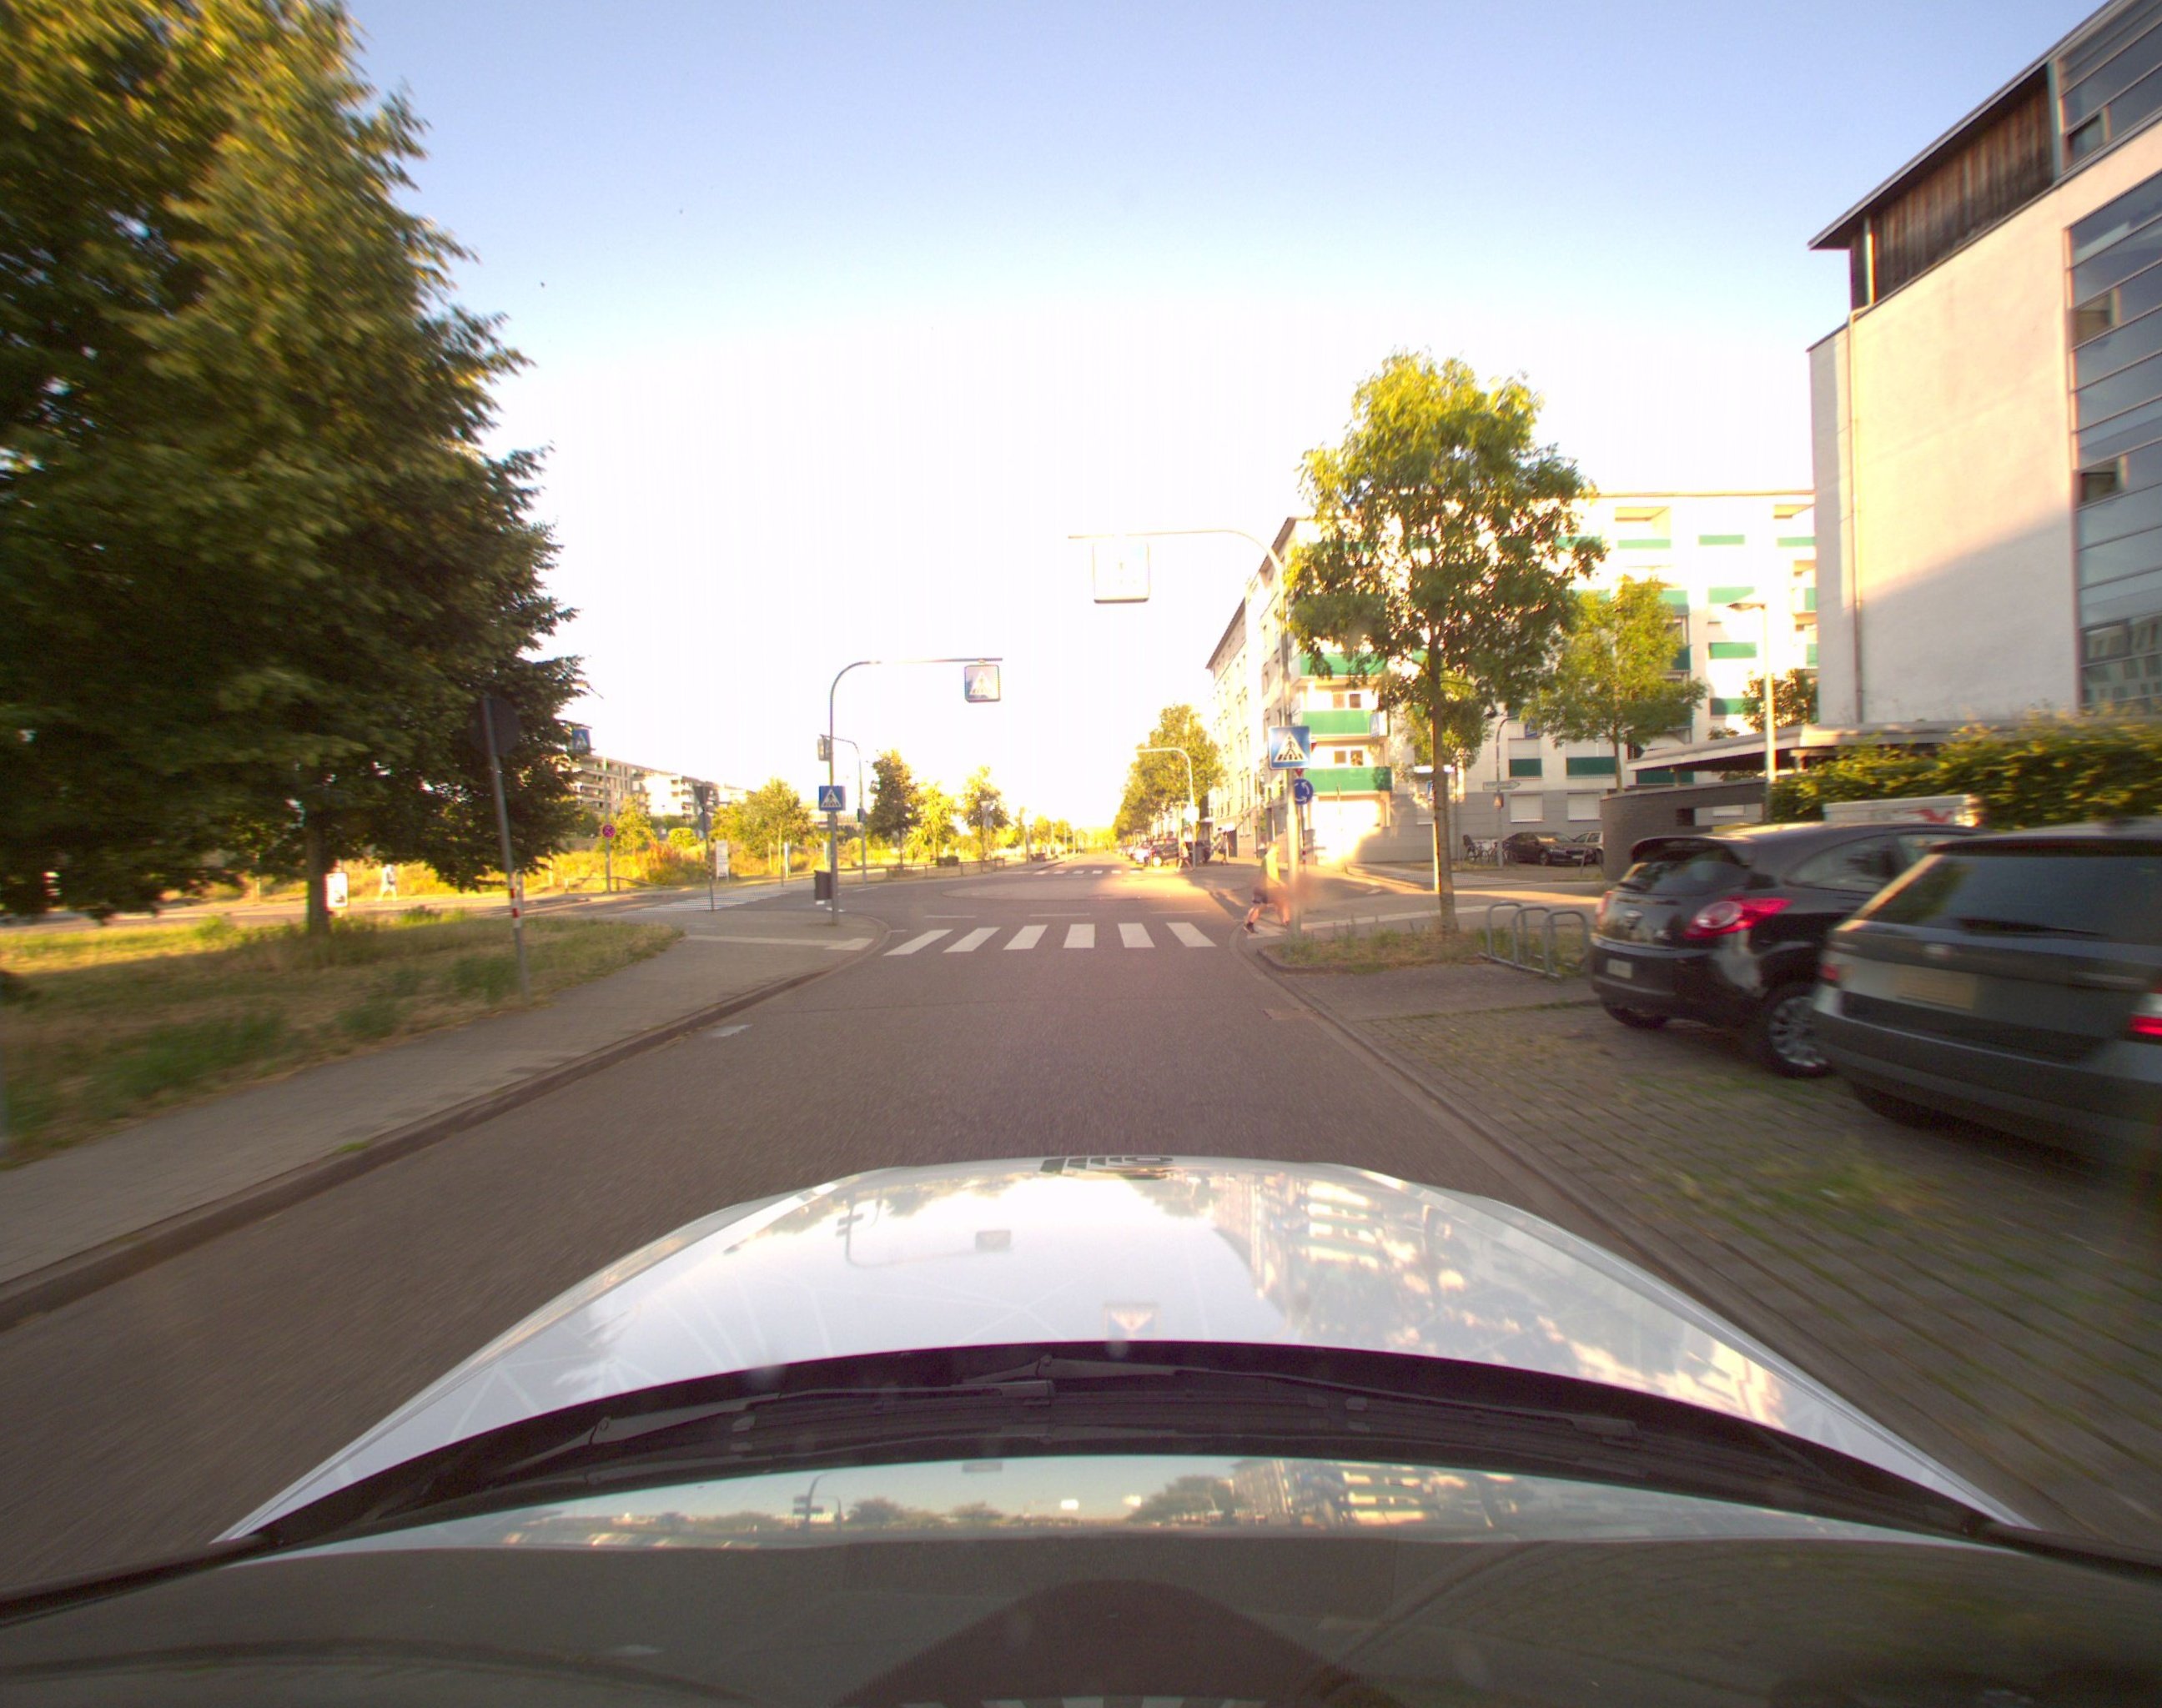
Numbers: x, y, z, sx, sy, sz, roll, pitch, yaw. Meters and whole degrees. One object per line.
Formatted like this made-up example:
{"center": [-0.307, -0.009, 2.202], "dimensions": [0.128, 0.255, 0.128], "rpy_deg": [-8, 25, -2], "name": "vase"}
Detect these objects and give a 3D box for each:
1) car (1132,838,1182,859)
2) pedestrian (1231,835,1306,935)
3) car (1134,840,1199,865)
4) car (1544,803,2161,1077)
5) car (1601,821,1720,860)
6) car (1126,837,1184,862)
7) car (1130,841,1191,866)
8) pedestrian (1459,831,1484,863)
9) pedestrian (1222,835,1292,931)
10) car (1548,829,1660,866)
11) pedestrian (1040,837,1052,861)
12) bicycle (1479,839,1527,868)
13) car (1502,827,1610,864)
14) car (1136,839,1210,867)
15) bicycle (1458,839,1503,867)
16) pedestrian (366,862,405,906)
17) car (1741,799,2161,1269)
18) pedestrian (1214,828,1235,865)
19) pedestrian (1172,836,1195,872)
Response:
{"center": [6.637, -0.486, 71.339], "dimensions": [4.249, 1.596, 2.000], "rpy_deg": [-2, 0, 0], "name": "car"}
{"center": [3.384, 0.535, 14.733], "dimensions": [1.018, 1.693, 0.757], "rpy_deg": [-4, 0, -10], "name": "pedestrian"}
{"center": [5.898, -0.102, 56.388], "dimensions": [4.338, 1.596, 2.001], "rpy_deg": [-2, 0, 2], "name": "car"}
{"center": [5.588, 0.495, 5.619], "dimensions": [3.788, 1.508, 1.680], "rpy_deg": [-2, -1, 2], "name": "car"}
{"center": [25.591, -0.587, 36.194], "dimensions": [1.987, 1.553, 4.593], "rpy_deg": [-2, 0, 0], "name": "car"}
{"center": [6.744, -0.409, 74.394], "dimensions": [4.992, 2.045, 2.248], "rpy_deg": [-2, 0, -3], "name": "car"}
{"center": [5.731, -0.043, 59.126], "dimensions": [4.246, 1.596, 2.001], "rpy_deg": [-2, 0, 2], "name": "car"}
{"center": [17.341, -0.310, 36.190], "dimensions": [0.655, 1.355, 0.802], "rpy_deg": [-2, 0, -1], "name": "pedestrian"}
{"center": [3.333, 0.529, 15.452], "dimensions": [0.983, 1.693, 0.698], "rpy_deg": [-5, 1, -10], "name": "pedestrian"}
{"center": [22.993, -0.298, 36.040], "dimensions": [1.987, 1.453, 4.593], "rpy_deg": [-2, 0, 0], "name": "car"}
{"center": [-3.026, -0.428, 69.512], "dimensions": [0.866, 2.013, 0.787], "rpy_deg": [-2, 0, -9], "name": "pedestrian"}
{"center": [18.123, -0.033, 35.018], "dimensions": [0.685, 1.151, 2.521], "rpy_deg": [-2, 0, -1], "name": "bicycle"}
{"center": [20.634, -0.349, 35.617], "dimensions": [1.987, 1.453, 4.593], "rpy_deg": [-2, 0, 0], "name": "car"}
{"center": [5.770, -0.068, 51.237], "dimensions": [4.466, 1.596, 2.001], "rpy_deg": [-2, 0, 2], "name": "car"}
{"center": [17.358, -0.035, 35.426], "dimensions": [0.694, 1.151, 2.460], "rpy_deg": [-2, 0, -1], "name": "bicycle"}
{"center": [-28.764, 1.232, 33.708], "dimensions": [0.864, 1.786, 0.789], "rpy_deg": [-2, 0, -1], "name": "pedestrian"}
{"center": [5.334, 0.506, 3.412], "dimensions": [3.791, 1.508, 1.678], "rpy_deg": [-2, 0, -1], "name": "car"}
{"center": [8.057, -0.417, 45.614], "dimensions": [0.938, 2.013, 0.848], "rpy_deg": [-2, 0, -3], "name": "pedestrian"}
{"center": [5.196, 0.006, 41.141], "dimensions": [1.002, 1.788, 0.761], "rpy_deg": [-1, 0, -5], "name": "pedestrian"}
